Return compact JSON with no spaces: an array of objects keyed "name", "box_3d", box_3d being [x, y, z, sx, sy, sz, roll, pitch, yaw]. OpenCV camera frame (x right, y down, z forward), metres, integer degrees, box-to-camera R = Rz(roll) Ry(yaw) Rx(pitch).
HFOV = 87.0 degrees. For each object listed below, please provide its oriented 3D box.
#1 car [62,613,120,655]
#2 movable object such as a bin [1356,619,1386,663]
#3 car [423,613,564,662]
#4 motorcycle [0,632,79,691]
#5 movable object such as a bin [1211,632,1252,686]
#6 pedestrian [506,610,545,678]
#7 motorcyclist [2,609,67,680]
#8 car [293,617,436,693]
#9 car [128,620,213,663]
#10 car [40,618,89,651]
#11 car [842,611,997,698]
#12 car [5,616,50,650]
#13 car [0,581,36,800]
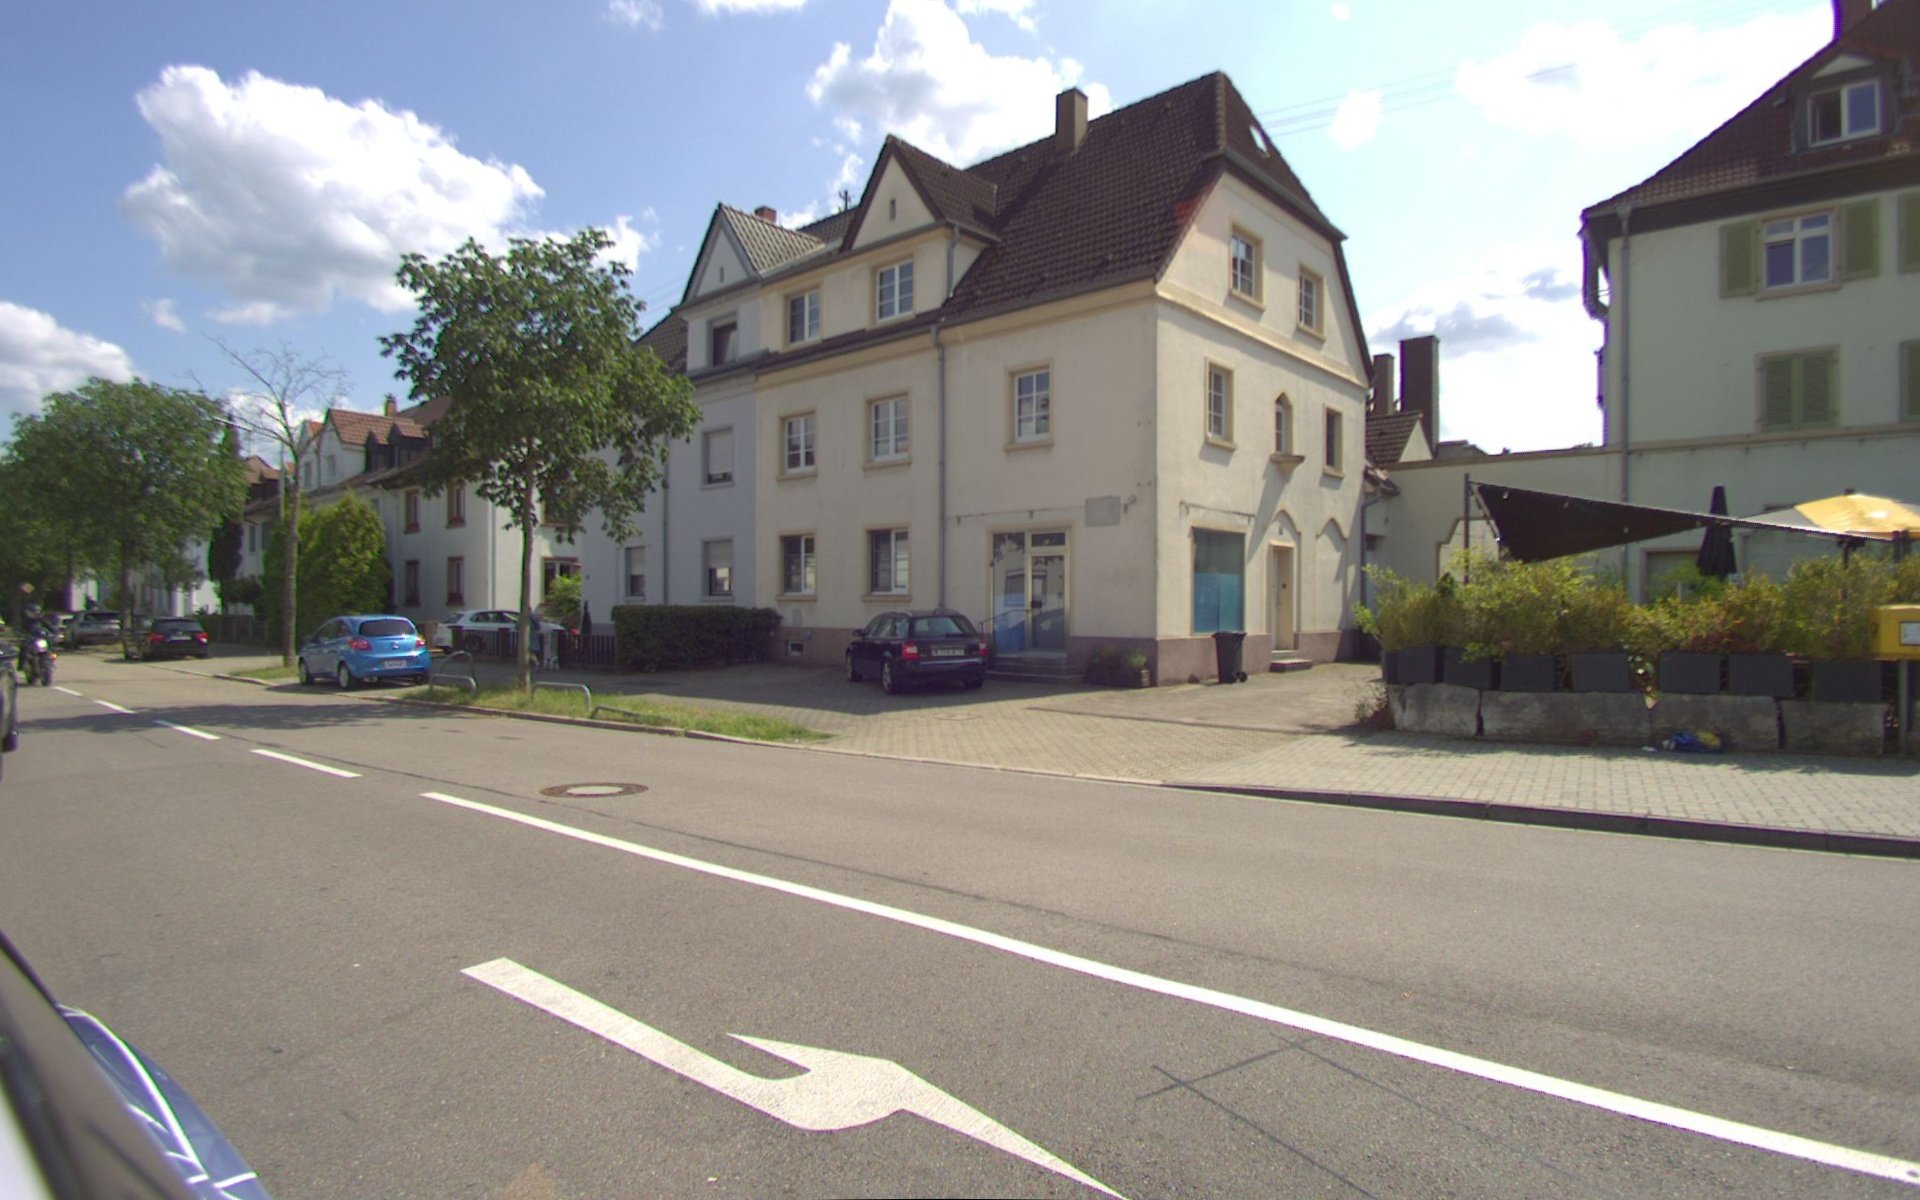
[{"name":"car","box_3d":[-36.315,1.407,42.281,3.575,1.667,1.541,-1,-2,45]},{"name":"movable object such as a bin","box_3d":[9.986,0.988,24.580,0.510,1.053,0.607,-1,-2,41]},{"name":"car","box_3d":[-14.850,1.154,32.346,1.711,1.465,3.753,-1,-1,44]},{"name":"motorcycle","box_3d":[-19.001,1.237,20.855,2.355,1.136,0.833,-1,-1,38]},{"name":"movable object such as a bin","box_3d":[5.109,1.098,19.040,0.510,0.979,0.607,-1,-2,41]},{"name":"pedestrian","box_3d":[-10.109,1.005,23.542,0.617,1.547,0.624,-1,-1,39]},{"name":"motorcyclist","box_3d":[-19.251,0.920,21.046,1.098,1.409,0.815,-4,-2,38]},{"name":"car","box_3d":[-12.521,1.093,21.226,3.153,1.473,1.687,-1,-1,41]},{"name":"car","box_3d":[-25.844,1.317,33.080,3.919,1.306,1.686,-1,-1,45]},{"name":"car","box_3d":[-40.880,1.553,46.204,1.601,1.436,3.004,0,-1,-43]},{"name":"car","box_3d":[-0.873,0.912,18.546,1.732,1.397,4.115,0,-1,-19]},{"name":"car","box_3d":[-47.860,1.684,51.944,3.252,1.667,1.541,-1,-2,45]},{"name":"car","box_3d":[-10.046,0.762,9.338,4.873,1.777,1.753,-1,-1,42]}]
